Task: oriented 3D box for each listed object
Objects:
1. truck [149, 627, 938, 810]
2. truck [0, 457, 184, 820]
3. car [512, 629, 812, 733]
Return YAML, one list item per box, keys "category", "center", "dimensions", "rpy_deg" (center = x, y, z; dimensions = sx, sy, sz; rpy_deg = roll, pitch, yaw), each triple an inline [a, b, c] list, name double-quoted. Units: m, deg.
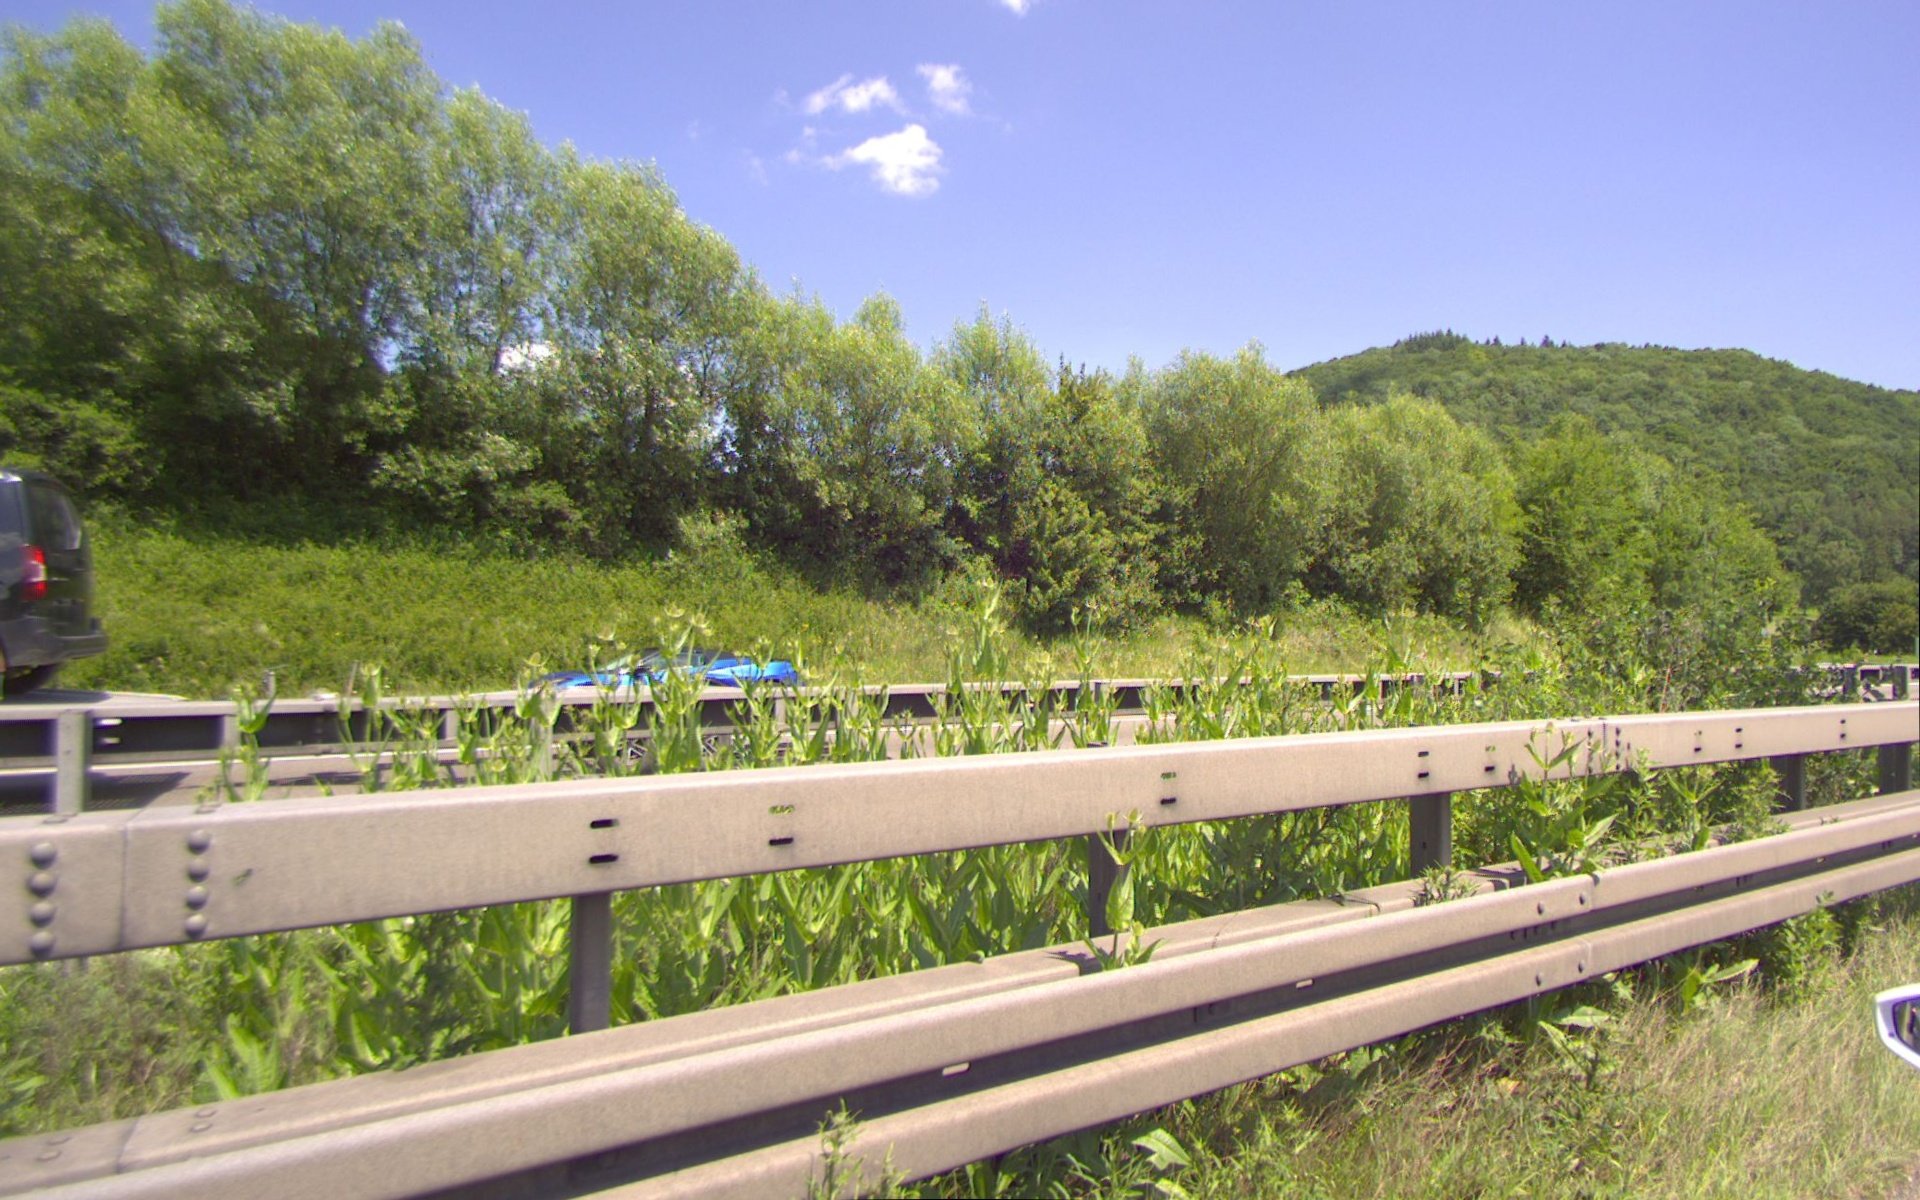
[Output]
- category: "truck"
  center: [-3.783, 1.014, 10.447]
  dimensions: [6.927, 1.351, 2.199]
  rpy_deg: [1, -1, -30]
- category: "truck"
  center: [-10.284, 0.241, 6.602]
  dimensions: [7.874, 2.622, 2.285]
  rpy_deg: [1, -2, -30]
- category: "car"
  center: [-4.545, 1.161, 15.449]
  dimensions: [4.062, 1.374, 1.983]
  rpy_deg: [2, -1, -32]
